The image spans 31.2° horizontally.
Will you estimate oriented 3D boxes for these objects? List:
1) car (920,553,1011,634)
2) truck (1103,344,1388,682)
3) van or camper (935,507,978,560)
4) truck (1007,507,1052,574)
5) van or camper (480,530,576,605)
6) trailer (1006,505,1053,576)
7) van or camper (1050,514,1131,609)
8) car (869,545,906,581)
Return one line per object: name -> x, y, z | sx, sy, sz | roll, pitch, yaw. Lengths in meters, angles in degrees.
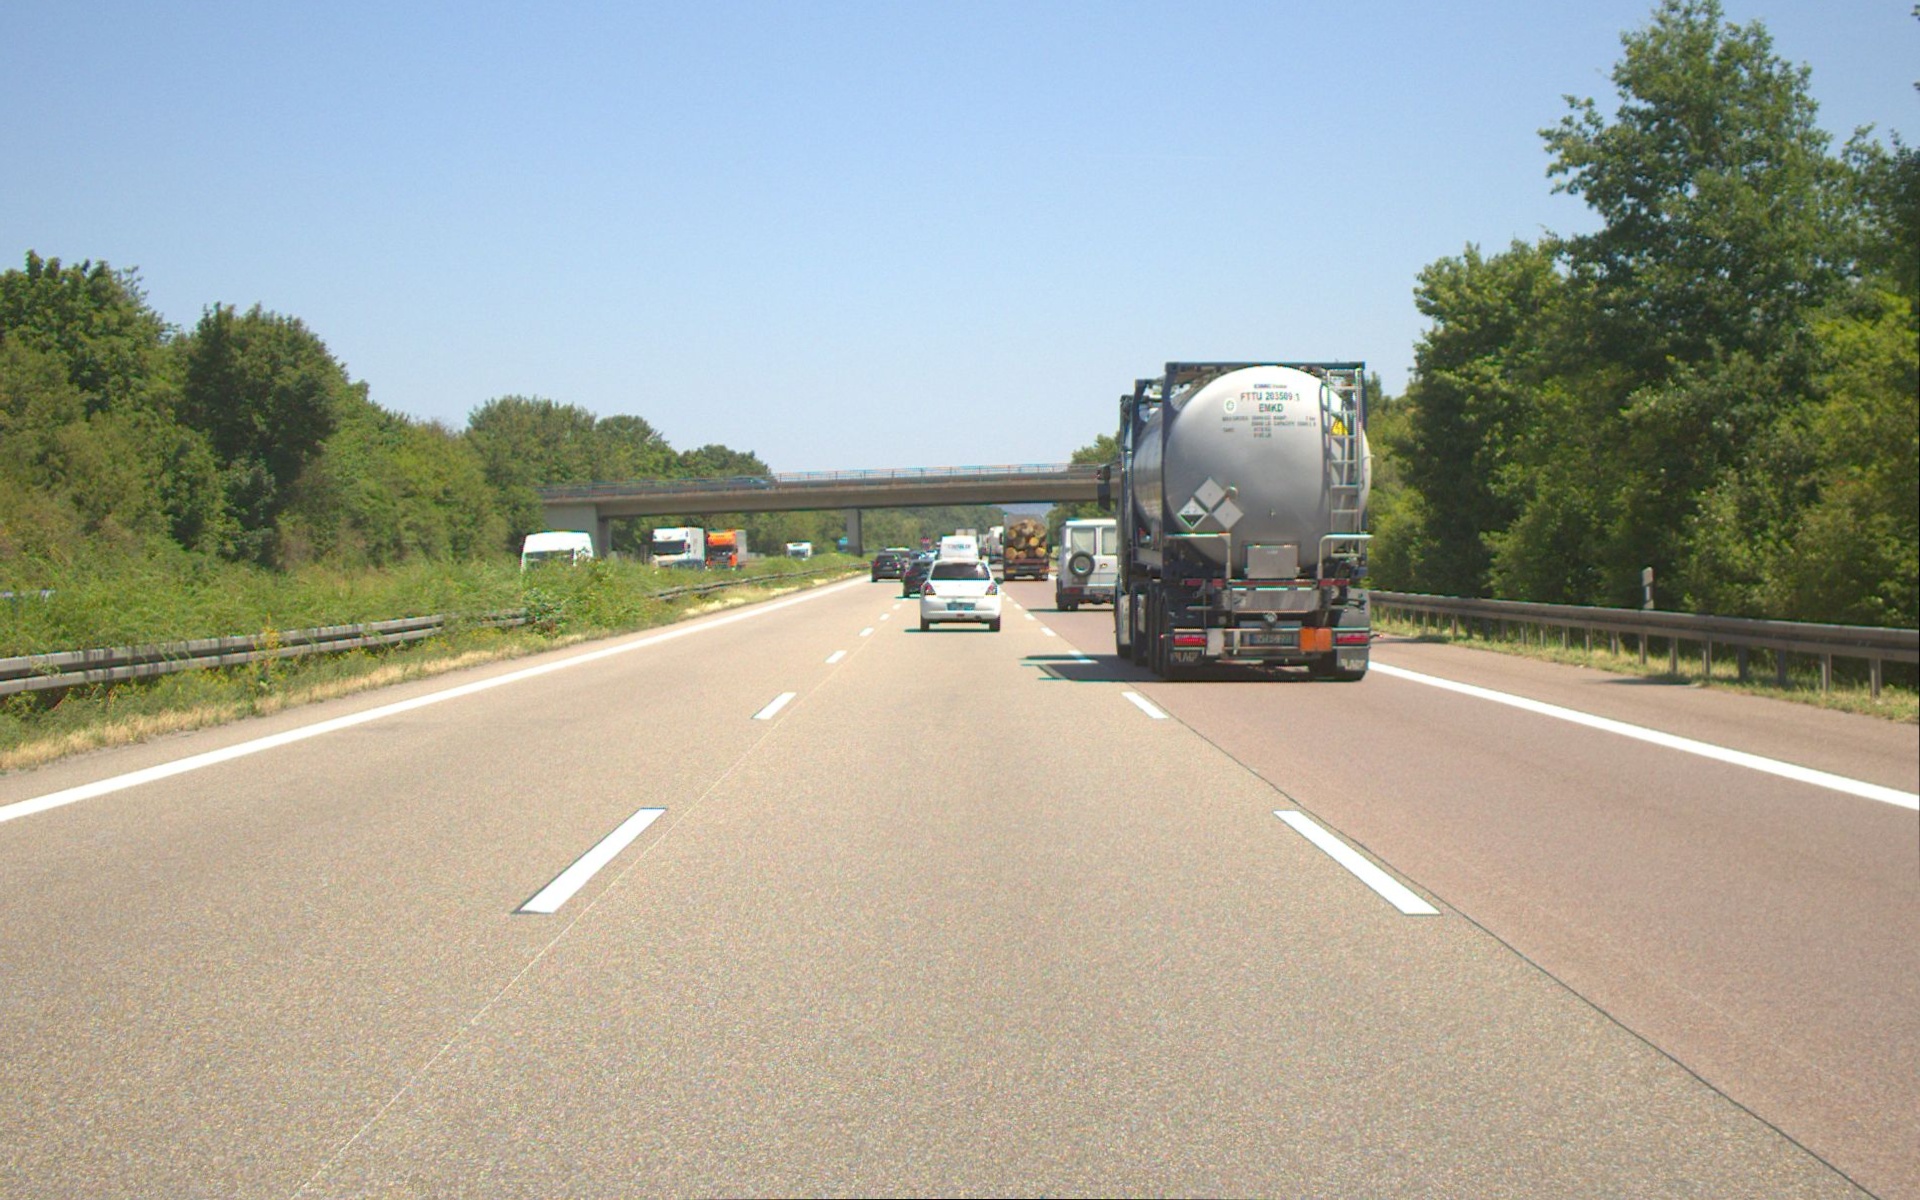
car -> 0.090, -0.161, 72.752 | 1.857, 1.646, 4.000 | 1, 1, 0
truck -> 3.718, -1.115, 48.084 | 2.798, 4.032, 13.355 | 1, 1, 0
van or camper -> -0.137, -3.361, 174.093 | 2.058, 2.613, 5.985 | 0, 1, 1
truck -> 4.186, -3.594, 207.490 | 2.670, 3.981, 6.636 | 0, 1, 1
van or camper -> -14.257, -1.082, 113.868 | 2.425, 2.358, 6.337 | 1, 1, -1
trailer -> 4.038, -3.442, 200.237 | 2.653, 3.945, 13.636 | 0, 1, 1
van or camper -> 3.774, -1.117, 100.165 | 2.113, 2.694, 6.368 | 0, 1, 0
car -> -4.062, -2.085, 193.293 | 2.051, 2.007, 4.177 | 1, 1, 0
